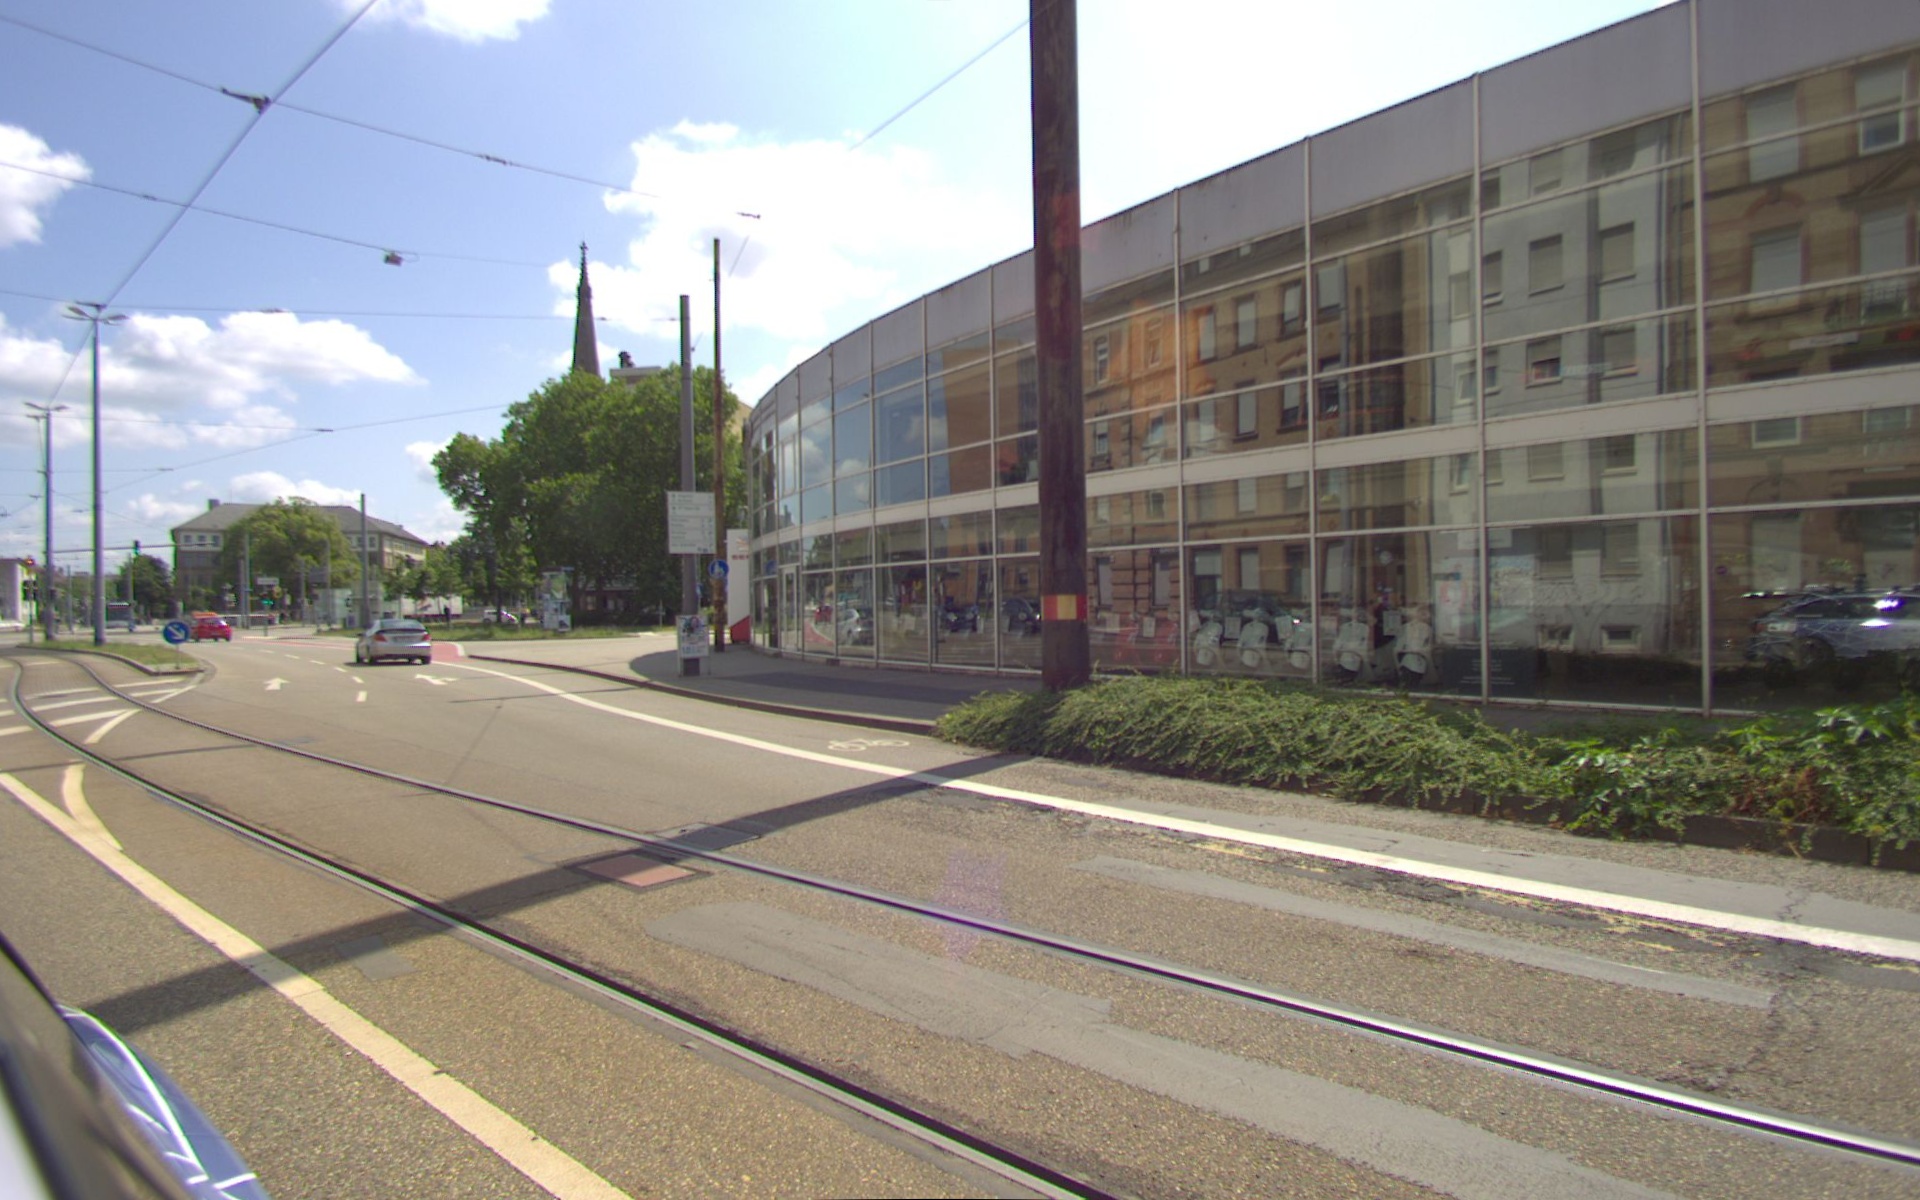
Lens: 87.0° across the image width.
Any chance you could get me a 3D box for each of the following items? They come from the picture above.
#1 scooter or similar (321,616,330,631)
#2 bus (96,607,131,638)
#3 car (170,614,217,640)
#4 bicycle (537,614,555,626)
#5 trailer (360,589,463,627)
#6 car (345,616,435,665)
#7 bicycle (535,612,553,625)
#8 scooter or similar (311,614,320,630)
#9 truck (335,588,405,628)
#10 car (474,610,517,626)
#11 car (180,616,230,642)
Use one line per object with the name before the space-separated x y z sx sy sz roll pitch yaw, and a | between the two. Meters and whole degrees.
scooter or similar | -48.284 1.762 77.045 0.556 1.133 0.411 -2 -1 39
bus | -99.754 2.649 119.351 2.905 3.473 7.962 -1 -1 -38
car | -57.901 2.036 76.419 4.363 1.880 1.892 -1 -1 39
bicycle | -40.698 1.961 99.507 1.584 1.176 0.492 -2 0 10
trailer | -63.210 0.918 117.218 2.916 4.107 13.381 -1 0 9
car | -17.927 1.234 31.733 1.791 1.431 4.195 1 -2 -39
bicycle | -42.423 1.904 103.226 1.584 1.274 0.492 -2 0 10
scooter or similar | -48.704 1.672 76.461 0.549 1.209 0.456 -2 -1 39
truck | -64.292 0.869 110.449 2.931 4.150 6.858 -1 0 9
car | -50.869 1.972 110.952 4.102 1.655 1.634 -1 -1 -32
car | -43.773 1.677 58.636 3.902 1.439 1.683 -2 -2 43
